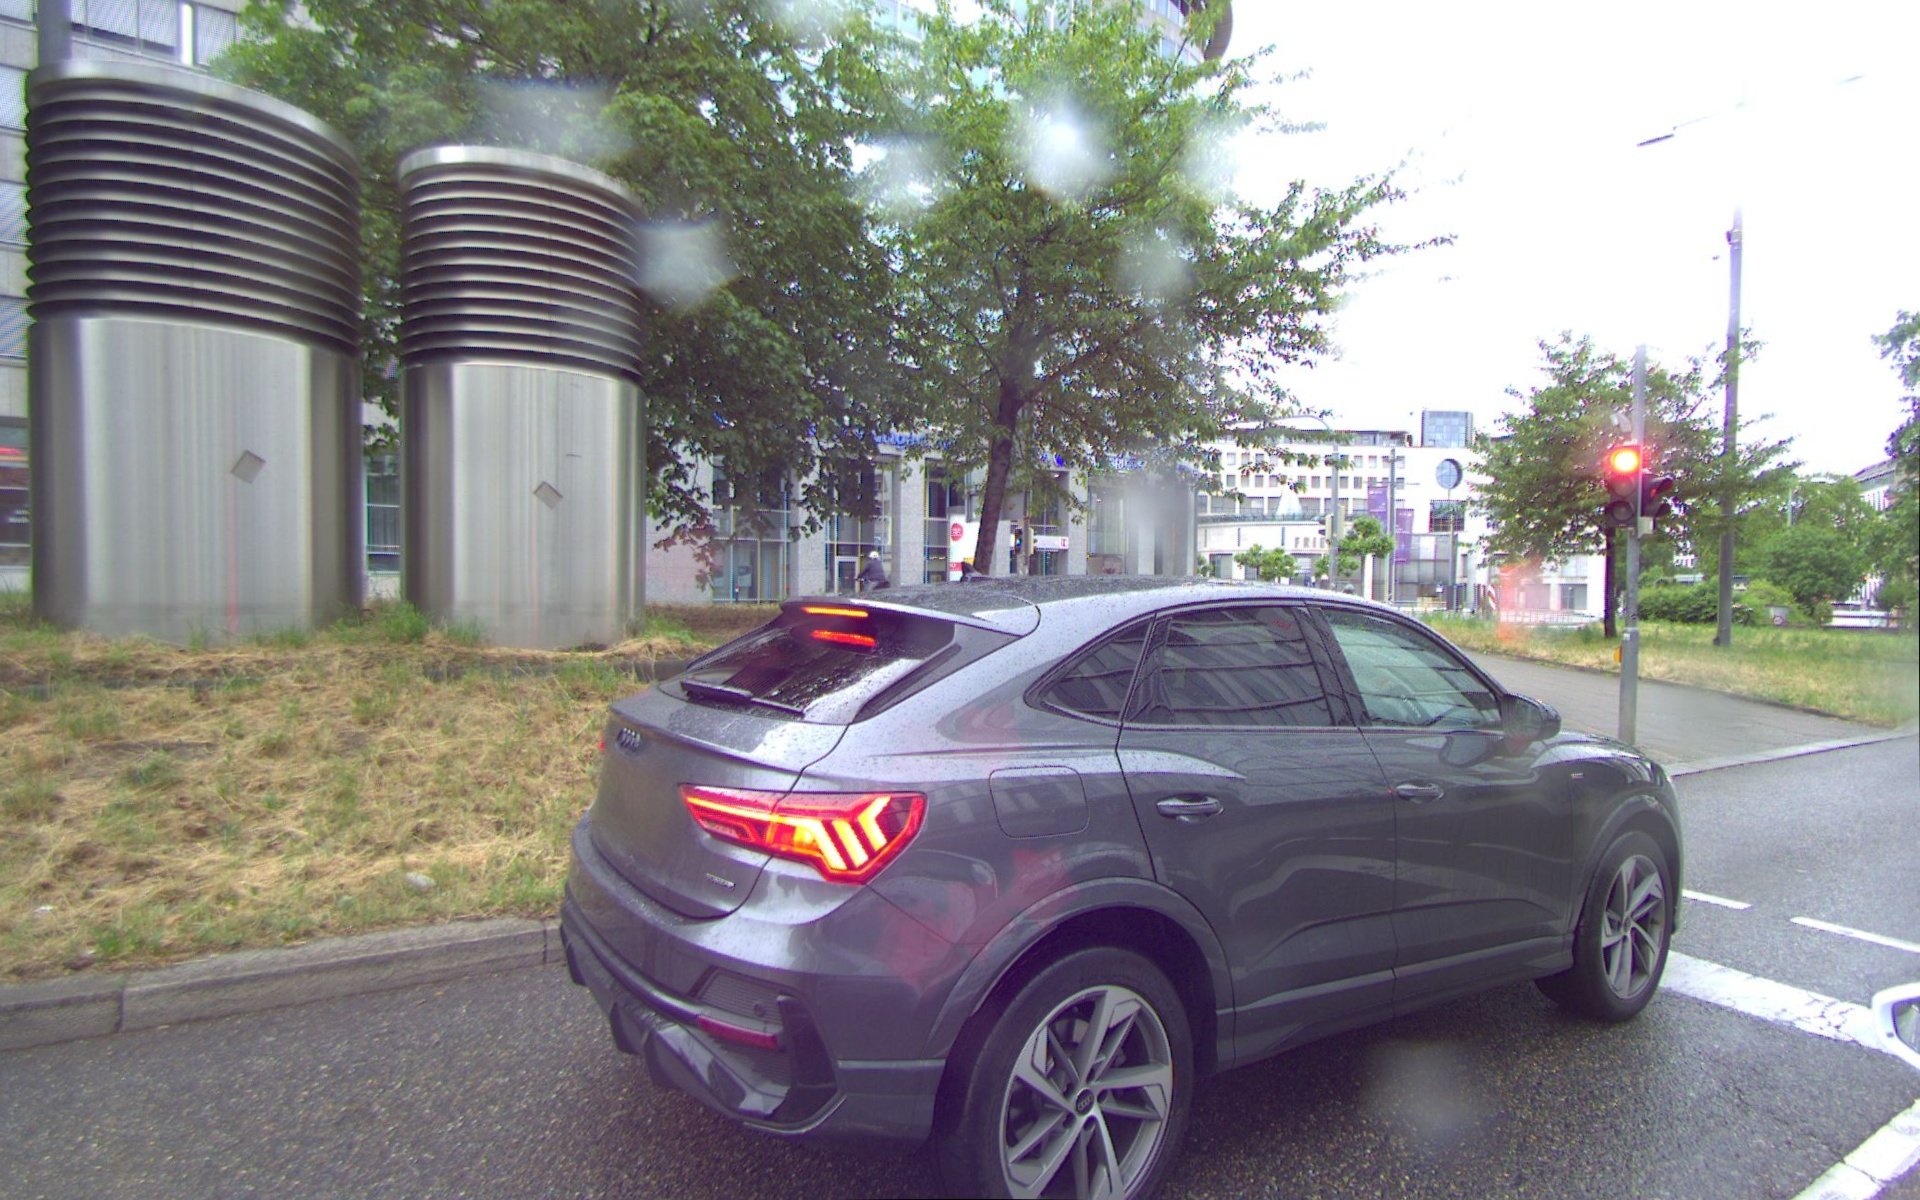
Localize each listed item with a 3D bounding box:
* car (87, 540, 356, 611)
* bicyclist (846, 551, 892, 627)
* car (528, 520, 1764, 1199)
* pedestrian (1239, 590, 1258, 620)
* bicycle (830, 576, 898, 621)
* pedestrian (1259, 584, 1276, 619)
[{"bbox_3d":[-15.529,-0.479,21.366,4.435,1.343,1.878,1,1,-37],"label":"car"},{"bbox_3d":[-2.626,-0.329,28.845,1.070,2.111,0.758,5,5,43],"label":"bicyclist"},{"bbox_3d":[0.876,0.673,3.578,4.206,1.638,1.837,0,2,-33],"label":"car"},{"bbox_3d":[15.211,0.258,52.897,0.686,1.536,0.721,1,-2,-43],"label":"pedestrian"},{"bbox_3d":[-2.782,-0.073,29.000,2.103,1.161,0.758,5,5,44],"label":"bicycle"},{"bbox_3d":[15.945,0.073,52.087,0.612,1.786,0.723,-1,-2,37],"label":"pedestrian"}]
